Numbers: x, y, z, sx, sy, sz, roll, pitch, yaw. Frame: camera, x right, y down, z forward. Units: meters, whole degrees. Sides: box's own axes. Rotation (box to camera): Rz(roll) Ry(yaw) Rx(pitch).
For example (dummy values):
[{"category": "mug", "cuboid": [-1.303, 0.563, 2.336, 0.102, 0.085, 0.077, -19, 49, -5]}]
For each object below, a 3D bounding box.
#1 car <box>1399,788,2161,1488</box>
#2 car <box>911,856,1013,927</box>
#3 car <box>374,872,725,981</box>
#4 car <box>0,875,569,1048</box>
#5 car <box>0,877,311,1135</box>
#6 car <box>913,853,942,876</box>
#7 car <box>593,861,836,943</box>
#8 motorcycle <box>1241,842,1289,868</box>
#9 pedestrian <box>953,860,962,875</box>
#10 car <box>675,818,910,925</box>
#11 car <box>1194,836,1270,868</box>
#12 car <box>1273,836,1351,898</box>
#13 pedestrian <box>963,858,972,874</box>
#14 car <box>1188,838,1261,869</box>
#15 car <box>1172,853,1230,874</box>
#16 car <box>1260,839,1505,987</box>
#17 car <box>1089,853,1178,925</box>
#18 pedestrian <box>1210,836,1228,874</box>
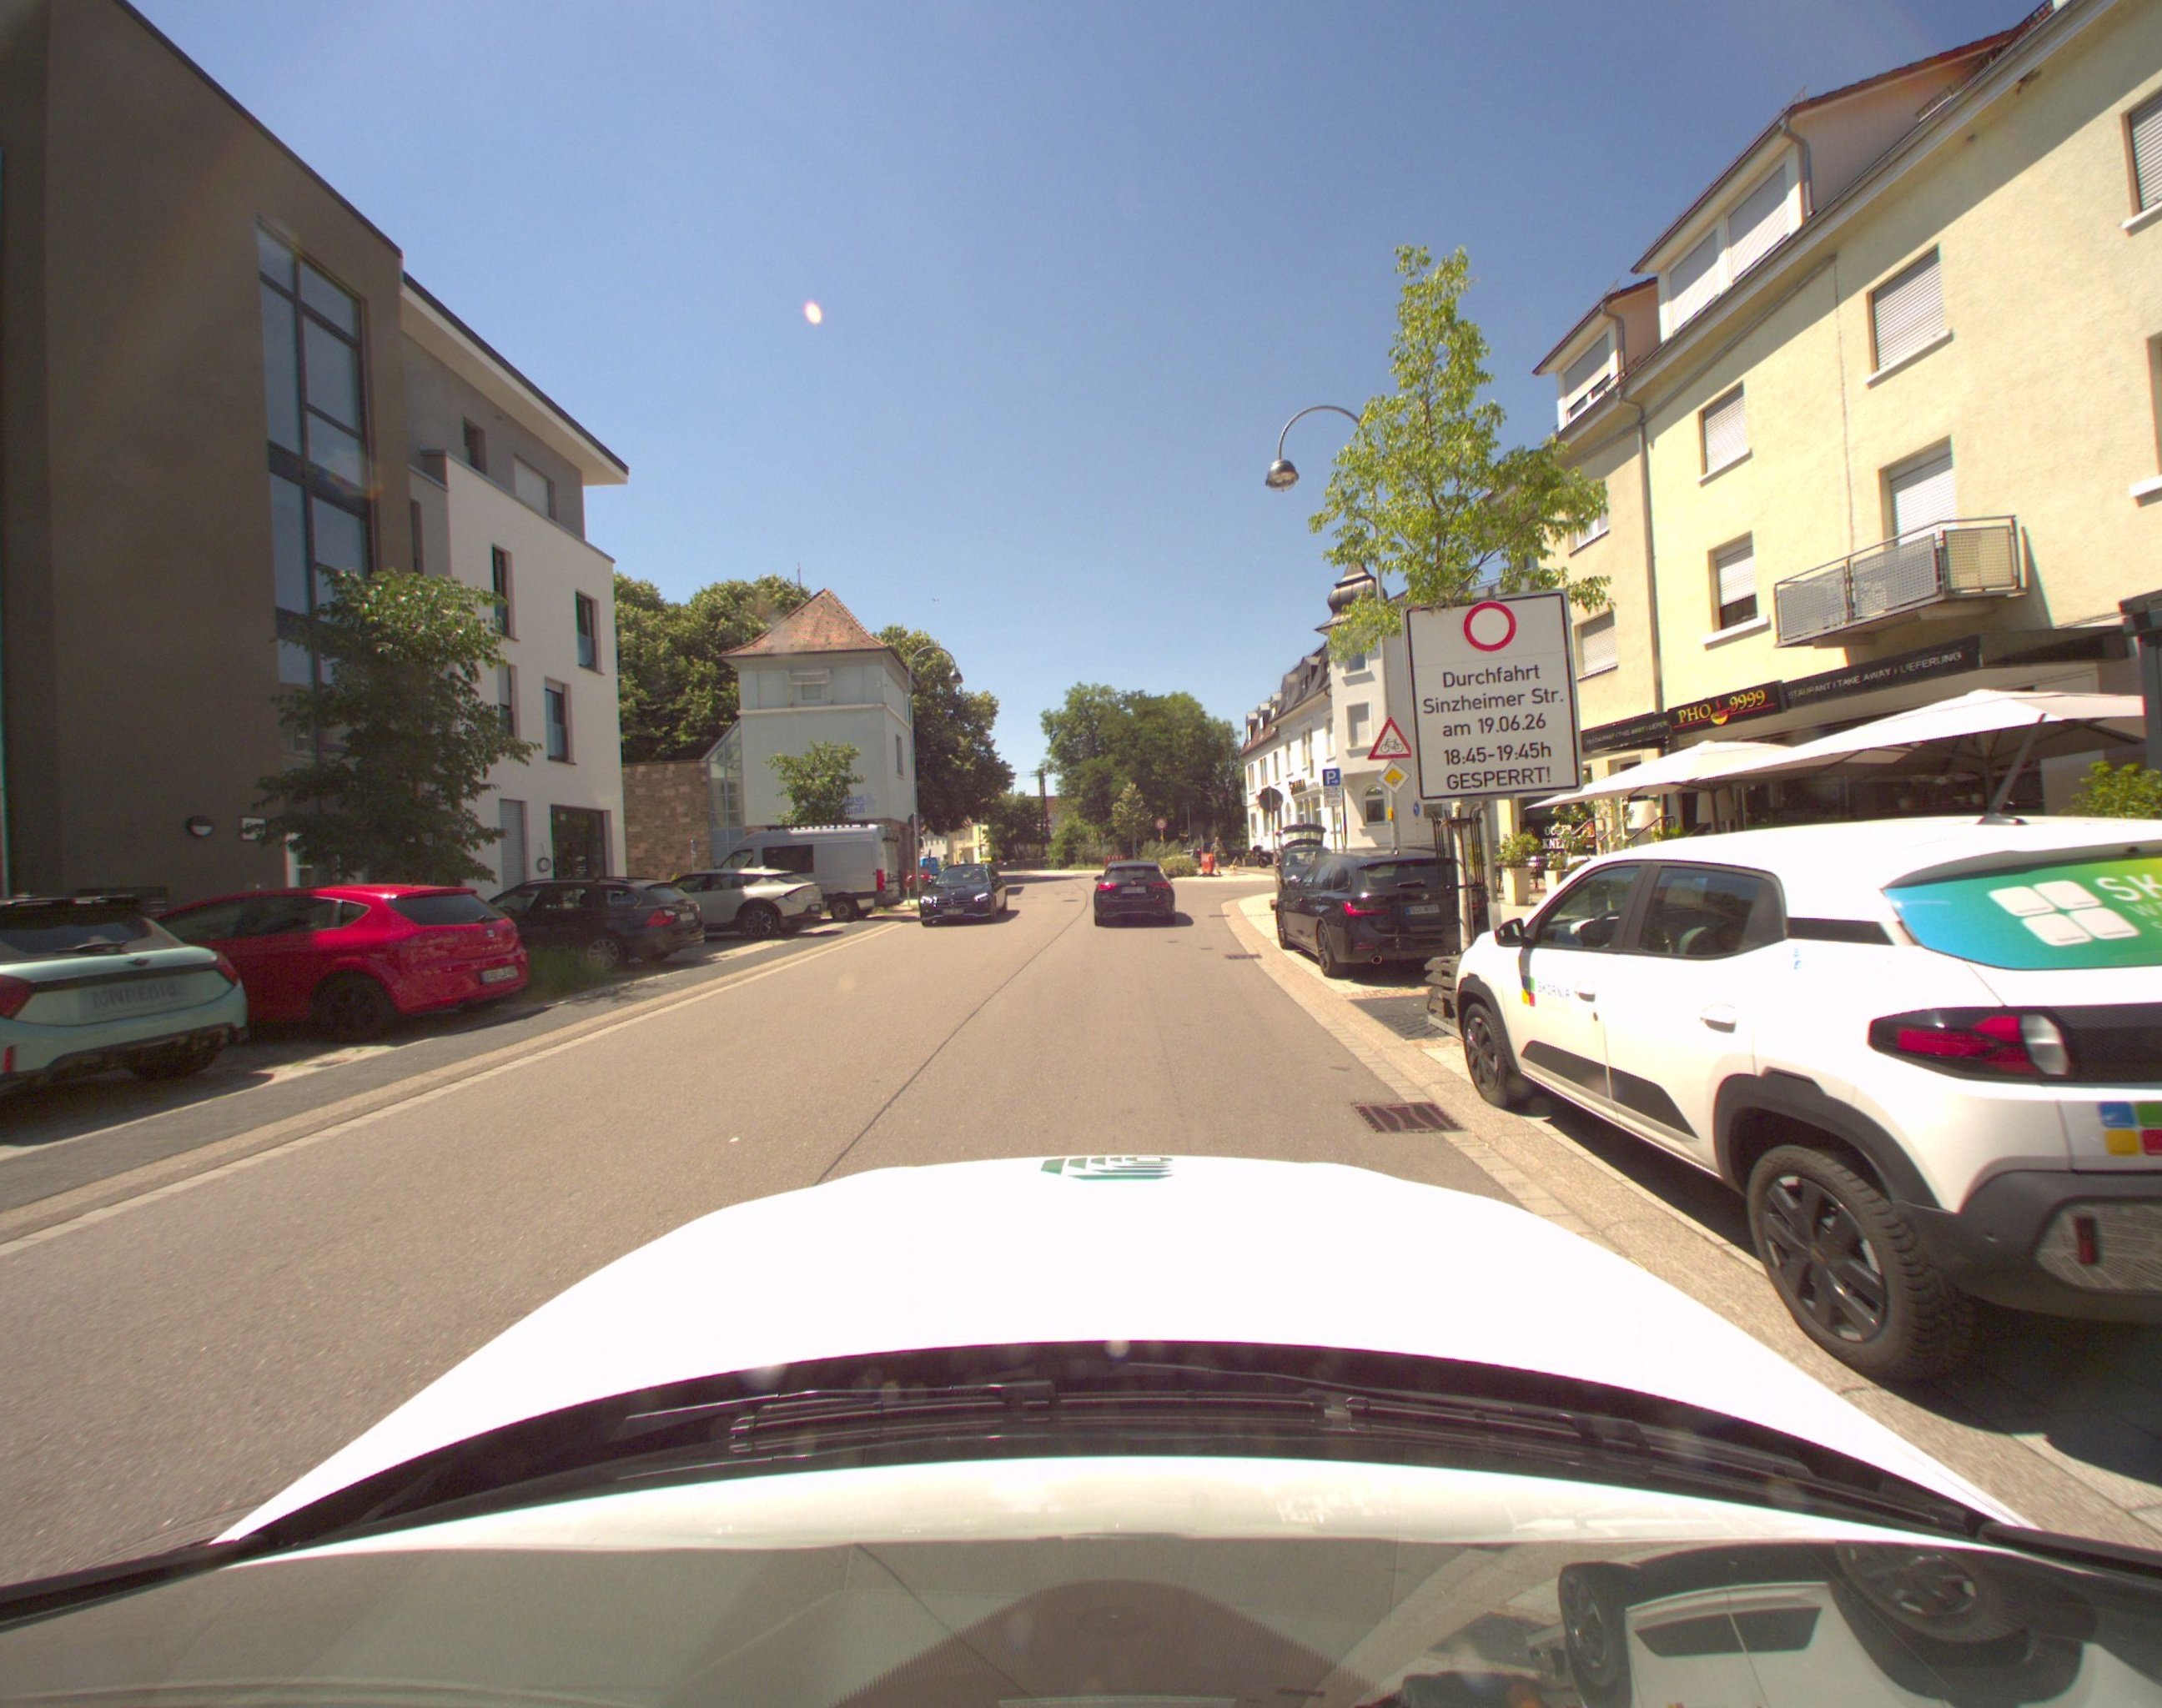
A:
[{"category": "car", "cuboid": [3.031, 0.601, 3.780, 1.729, 1.486, 4.060, -5, -1, 5]}, {"category": "car", "cuboid": [-3.021, 0.895, 21.716, 1.887, 1.553, 4.799, -2, 1, 1]}, {"category": "car", "cuboid": [-8.143, 1.065, 12.839, 4.193, 1.437, 1.883, -2, -1, -5]}, {"category": "car", "cuboid": [-7.950, 1.000, 8.395, 4.019, 1.430, 2.000, -2, -1, 0]}, {"category": "car", "cuboid": [-8.389, 0.983, 5.737, 4.017, 1.497, 2.001, -2, -1, 1]}, {"category": "car", "cuboid": [-17.882, 1.249, 94.832, 2.144, 2.541, 4.609, -3, -1, -25]}, {"category": "car", "cuboid": [-8.006, 1.025, 18.123, 4.440, 1.591, 1.999, -2, -1, -1]}, {"category": "motorcycle", "cuboid": [10.088, 0.057, 44.683, 2.370, 1.275, 0.855, -2, 0, -2]}, {"category": "pedestrian", "cuboid": [-14.009, 1.563, 92.572, 0.618, 1.612, 0.829, -3, -1, -31]}, {"category": "car", "cuboid": [-7.995, 0.484, 23.056, 5.748, 2.732, 2.291, -2, -1, 0]}, {"category": "car", "cuboid": [8.871, -0.093, 48.118, 4.065, 1.716, 1.854, -2, -1, -3]}, {"category": "car", "cuboid": [6.516, 0.306, 23.320, 1.859, 1.491, 3.876, -4, 1, 13]}, {"category": "pedestrian", "cuboid": [-12.813, 1.353, 91.898, 0.666, 1.741, 0.693, -2, -1, -43]}, {"category": "car", "cuboid": [8.779, -0.032, 50.048, 4.065, 1.716, 1.854, -2, -1, -3]}, {"category": "car", "cuboid": [9.006, 0.705, 61.060, 4.222, 1.349, 1.841, -1, 5, -37]}, {"category": "car", "cuboid": [3.670, 0.641, 10.855, 1.717, 1.405, 4.613, -5, -1, 4]}, {"category": "car", "cuboid": [1.258, 0.810, 19.195, 1.819, 1.442, 4.004, -3, -2, 4]}, {"category": "pedestrian", "cuboid": [6.715, 0.033, 39.666, 0.742, 1.796, 0.845, -3, 1, 7]}]
